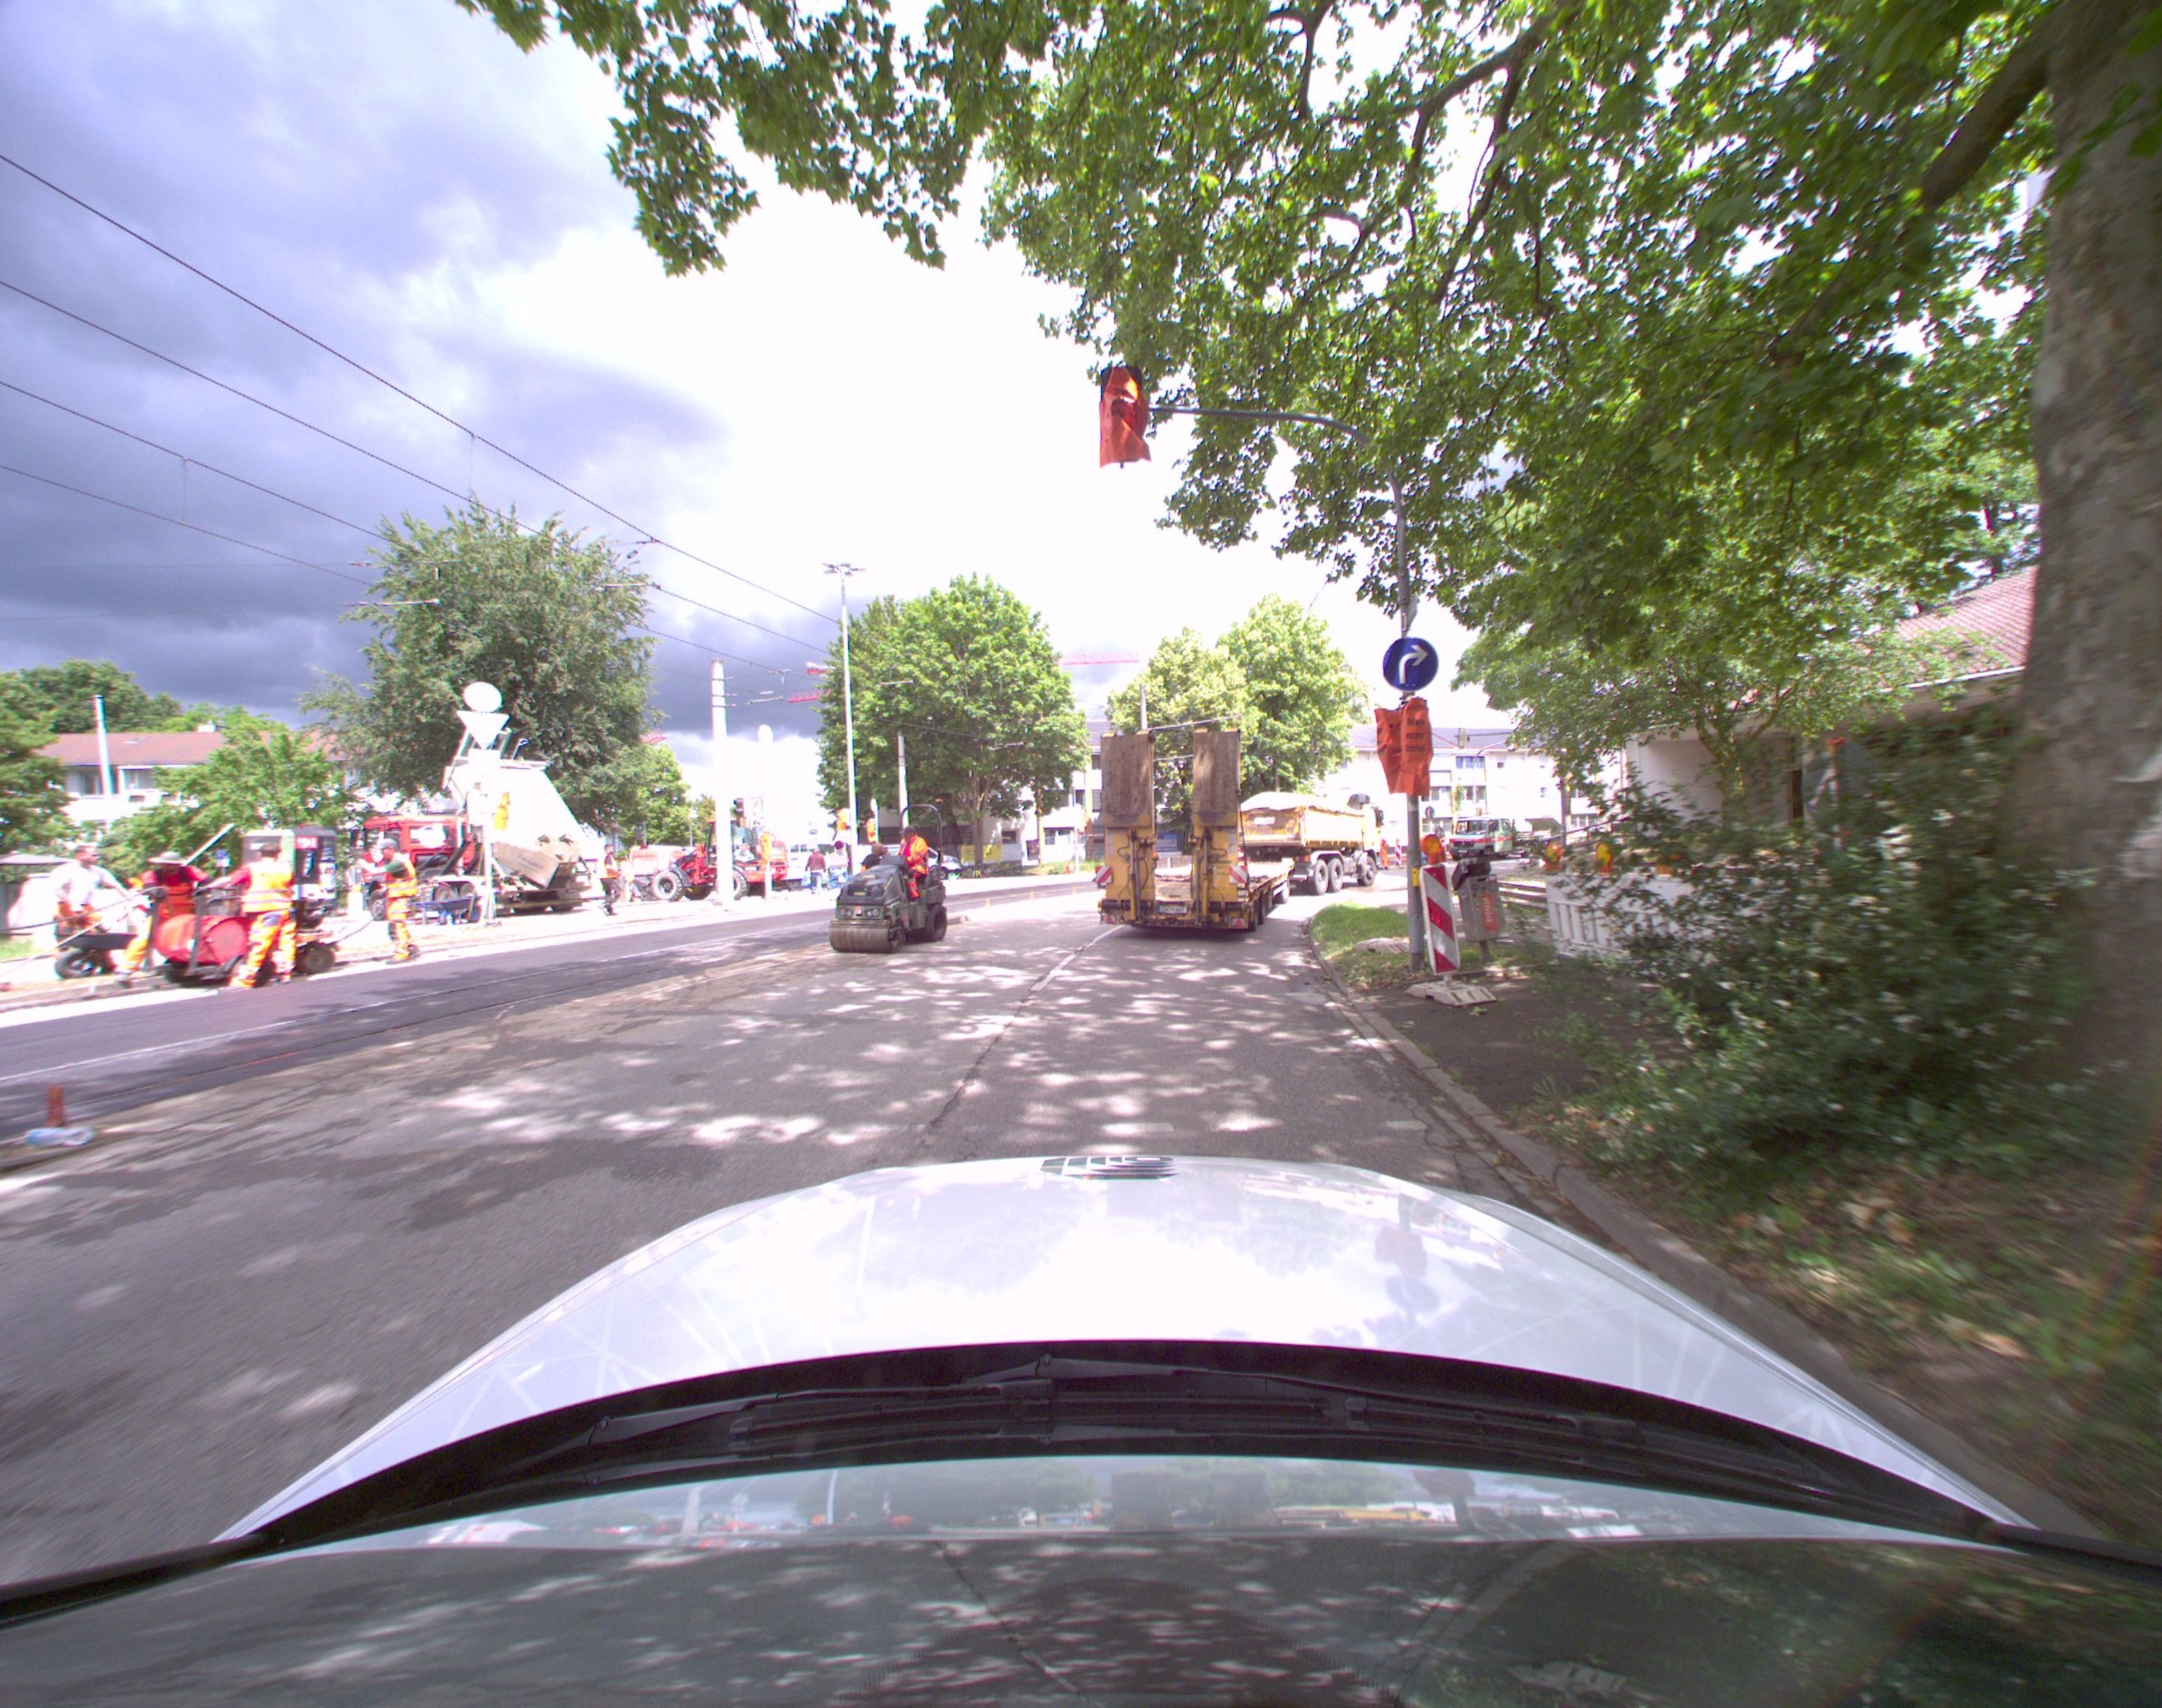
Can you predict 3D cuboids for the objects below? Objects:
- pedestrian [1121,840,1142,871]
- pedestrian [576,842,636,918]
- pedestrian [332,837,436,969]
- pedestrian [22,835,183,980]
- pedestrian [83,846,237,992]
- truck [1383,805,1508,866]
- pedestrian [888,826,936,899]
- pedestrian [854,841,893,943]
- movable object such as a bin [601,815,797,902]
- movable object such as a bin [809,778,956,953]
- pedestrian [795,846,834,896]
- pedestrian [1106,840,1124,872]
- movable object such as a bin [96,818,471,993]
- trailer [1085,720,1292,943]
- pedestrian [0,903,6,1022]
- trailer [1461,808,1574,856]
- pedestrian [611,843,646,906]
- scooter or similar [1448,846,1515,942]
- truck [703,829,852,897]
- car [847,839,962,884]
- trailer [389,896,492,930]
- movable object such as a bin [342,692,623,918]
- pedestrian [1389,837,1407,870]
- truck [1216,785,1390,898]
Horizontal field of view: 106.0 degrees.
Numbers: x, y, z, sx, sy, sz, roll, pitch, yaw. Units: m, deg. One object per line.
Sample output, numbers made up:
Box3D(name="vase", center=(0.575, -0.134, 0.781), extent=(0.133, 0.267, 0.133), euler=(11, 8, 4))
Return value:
Box3D(name="pedestrian", center=(2.549, 0.066, 40.938), extent=(0.903, 1.533, 0.840), euler=(-2, 0, -5))
Box3D(name="pedestrian", center=(-11.808, 0.637, 20.247), extent=(0.787, 1.832, 0.977), euler=(-1, 0, 21))
Box3D(name="pedestrian", center=(-10.199, 0.691, 11.952), extent=(0.779, 1.839, 0.768), euler=(-2, 0, -1))
Box3D(name="pedestrian", center=(-12.944, 0.682, 10.799), extent=(1.086, 1.824, 0.876), euler=(-2, 0, 10))
Box3D(name="pedestrian", center=(-11.488, 0.776, 10.189), extent=(0.851, 1.716, 0.922), euler=(-1, 1, 12))
Box3D(name="truck", center=(19.178, -1.009, 42.745), extent=(6.416, 2.724, 2.645), euler=(-5, 2, -30))
Box3D(name="pedestrian", center=(-2.880, 0.140, 13.940), extent=(0.545, 1.216, 0.619), euler=(-2, 0, 12))
Box3D(name="pedestrian", center=(-3.480, 0.616, 13.669), extent=(0.467, 1.681, 0.559), euler=(0, 0, 4))
Box3D(name="movable object such as a bin", center=(-12.591, 0.158, 27.041), extent=(5.540, 2.668, 2.120), euler=(-1, 0, 7))
Box3D(name="movable object such as a bin", center=(-3.175, 0.166, 13.388), extent=(1.307, 2.593, 2.372), euler=(-1, 1, 14))
Box3D(name="pedestrian", center=(-9.336, 0.582, 28.528), extent=(0.920, 1.659, 0.877), euler=(-2, 1, 9))
Box3D(name="pedestrian", center=(1.687, 0.093, 40.784), extent=(0.758, 1.541, 0.797), euler=(-2, 0, -5))
Box3D(name="movable object such as a bin", center=(-10.582, 0.607, 11.112), extent=(1.981, 2.013, 2.977), euler=(-2, 0, 11))
Box3D(name="trailer", center=(3.071, -0.458, 18.575), extent=(2.800, 3.523, 11.103), euler=(0, 1, 17))
Box3D(name="pedestrian", center=(-11.016, 0.788, 7.628), extent=(0.744, 1.716, 0.924), euler=(-1, 1, 22))
Box3D(name="trailer", center=(24.624, -1.247, 45.918), extent=(6.267, 2.213, 2.645), euler=(-5, 2, -30))
Box3D(name="pedestrian", center=(-13.343, 0.601, 24.040), extent=(0.577, 1.788, 0.613), euler=(-2, 2, 5))
Box3D(name="scooter or similar", center=(5.505, 0.525, 11.245), extent=(0.560, 1.232, 1.200), euler=(-3, 0, 15))
Box3D(name="truck", center=(-13.417, 0.397, 36.235), extent=(5.537, 2.568, 2.424), euler=(-4, 0, 6))
Box3D(name="car", center=(-8.559, 0.377, 39.674), extent=(5.240, 1.887, 1.990), euler=(-3, -2, -14))
Box3D(name="trailer", center=(-14.270, 1.307, 18.185), extent=(0.787, 0.616, 1.607), euler=(-3, 0, 25))
Box3D(name="movable object such as a bin", center=(-17.245, -1.048, 23.247), extent=(8.920, 5.484, 2.839), euler=(-3, 0, 29))
Box3D(name="pedestrian", center=(15.203, -0.030, 39.017), extent=(0.755, 1.551, 0.906), euler=(-1, 2, 24))
Box3D(name="truck", center=(7.546, -0.465, 26.837), extent=(2.889, 3.166, 7.730), euler=(0, 1, 36))
